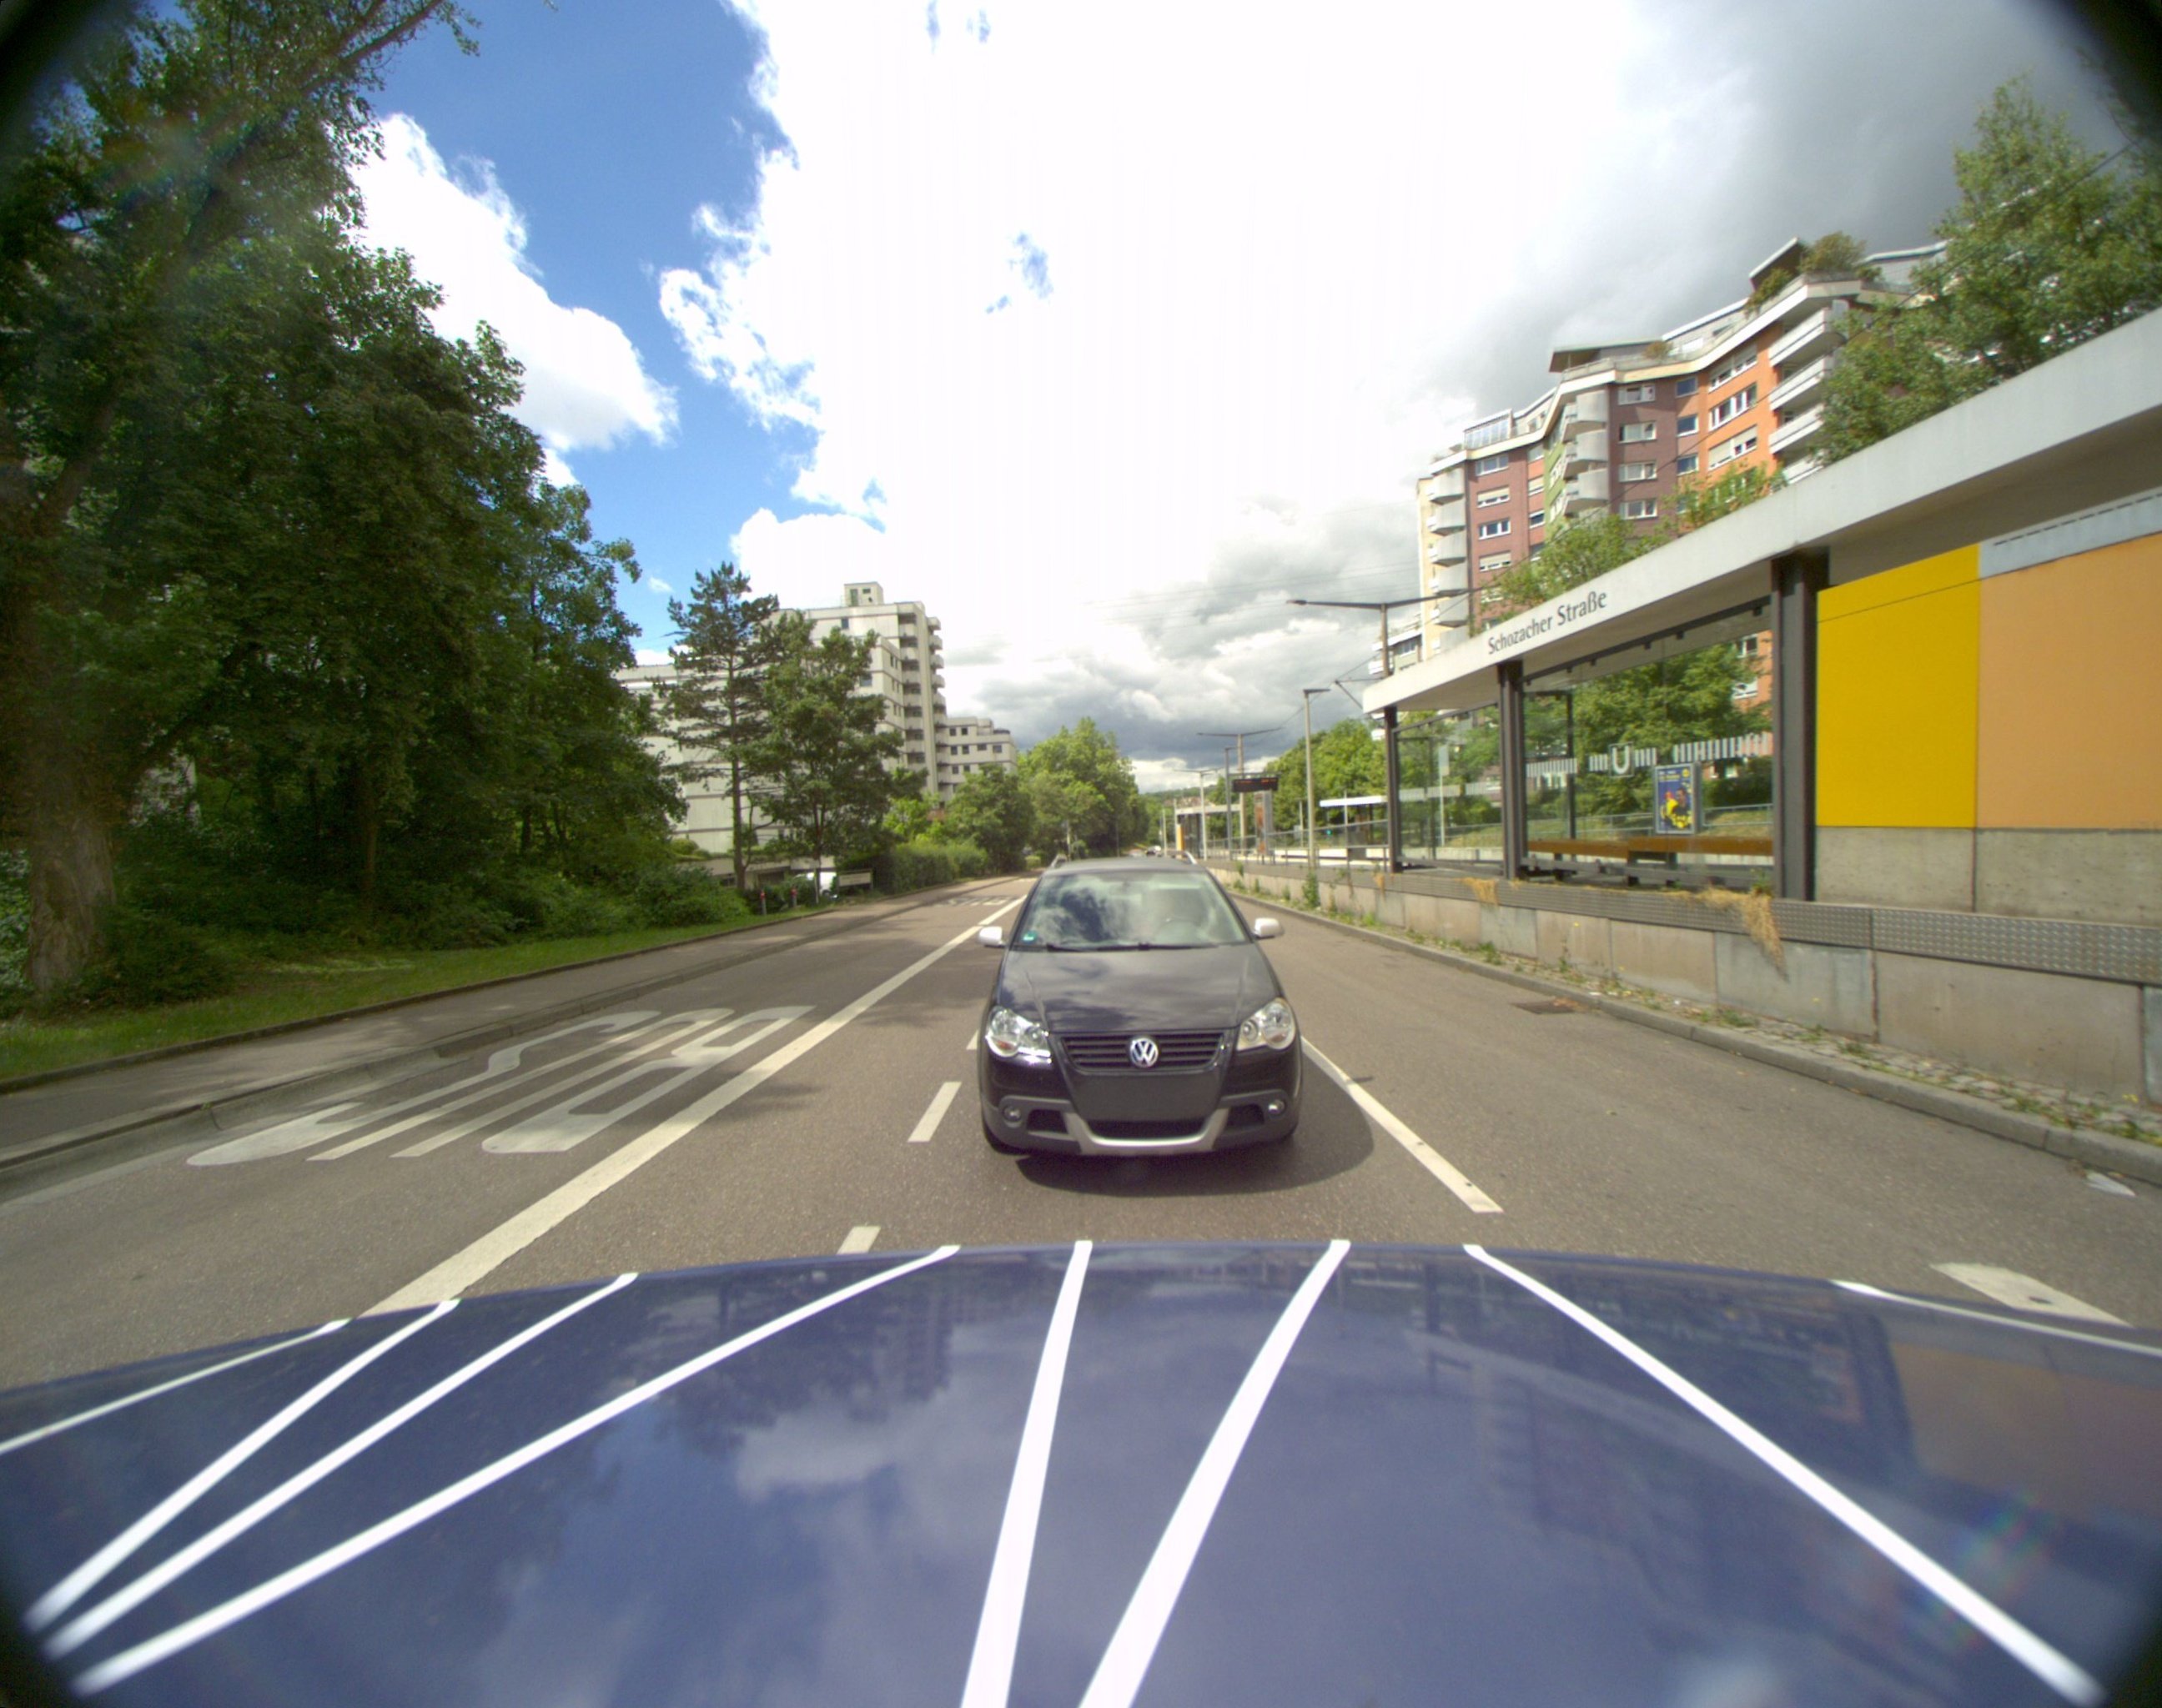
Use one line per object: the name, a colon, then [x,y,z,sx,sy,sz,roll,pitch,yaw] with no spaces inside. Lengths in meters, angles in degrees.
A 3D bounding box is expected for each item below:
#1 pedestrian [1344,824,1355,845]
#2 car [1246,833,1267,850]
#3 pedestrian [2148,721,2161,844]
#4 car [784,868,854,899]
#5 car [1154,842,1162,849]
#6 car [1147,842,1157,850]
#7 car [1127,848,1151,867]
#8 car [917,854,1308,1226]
pedestrian: [16.059,-1.163,45.400,0.536,1.270,0.562,-2,1,16]
car: [22.152,-1.603,96.149,1.737,2.002,4.000,-2,1,2]
pedestrian: [15.272,-1.000,10.588,0.354,1.703,0.426,-3,2,-41]
car: [-19.892,2.230,57.803,4.543,2.002,2.001,-2,1,7]
car: [19.591,-2.225,192.561,1.801,1.698,4.001,-3,1,6]
car: [13.133,-1.440,140.514,1.643,1.395,3.708,-2,1,4]
car: [4.796,0.259,63.492,1.821,1.377,4.065,-2,1,2]
car: [0.227,0.823,5.304,1.641,1.521,4.000,-2,1,3]
